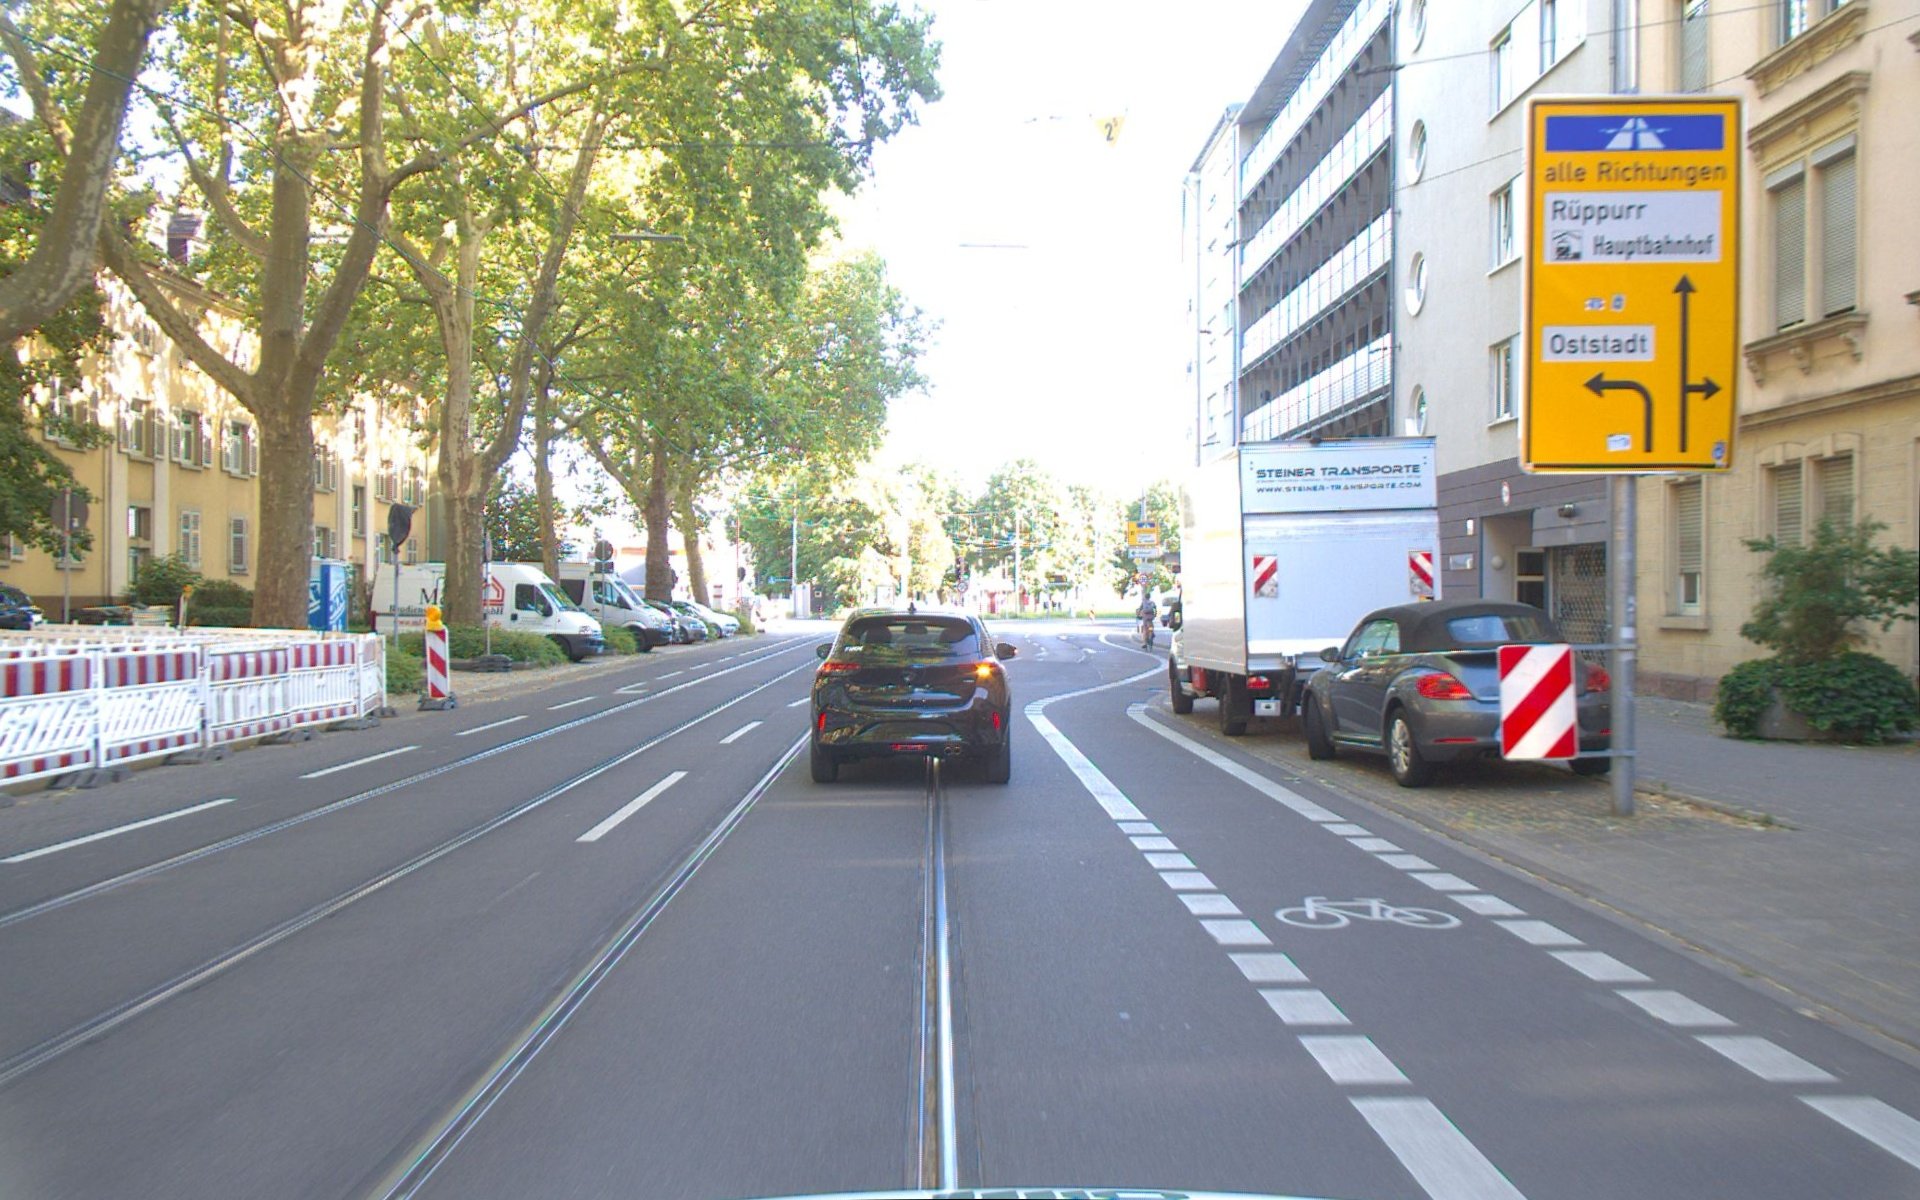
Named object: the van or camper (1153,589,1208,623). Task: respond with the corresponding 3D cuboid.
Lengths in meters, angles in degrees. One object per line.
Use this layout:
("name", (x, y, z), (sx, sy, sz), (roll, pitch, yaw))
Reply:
("van or camper", (14.664, 0.430, 109.797), (2.127, 2.183, 4.498), (1, 0, 29))

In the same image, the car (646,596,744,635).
("car", (-11.632, 0.685, 72.761), (4.086, 1.700, 1.963), (0, 0, -4))

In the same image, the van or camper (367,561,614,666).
("van or camper", (-11.570, 0.331, 41.044), (5.387, 2.421, 2.270), (1, 0, 2))

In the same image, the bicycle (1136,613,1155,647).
("bicycle", (6.123, 0.969, 54.422), (0.497, 1.086, 1.566), (0, 0, 11))

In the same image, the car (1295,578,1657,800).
("car", (4.293, 0.668, 14.471), (1.696, 1.584, 4.150), (-2, 0, -2))

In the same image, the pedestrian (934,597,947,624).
("pedestrian", (-1.417, 0.744, 118.561), (0.646, 1.966, 0.607), (1, -1, 33))

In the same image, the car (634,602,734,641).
("car", (-11.638, 0.888, 69.882), (3.905, 1.541, 1.650), (1, 0, 0))

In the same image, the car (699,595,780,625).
("car", (-13.605, 0.621, 102.111), (4.634, 1.725, 1.997), (-2, 0, 29))

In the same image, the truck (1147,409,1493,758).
("truck", (4.026, -0.165, 20.217), (2.486, 3.396, 7.194), (-2, 0, 0))

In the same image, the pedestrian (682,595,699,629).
("pedestrian", (-18.220, 0.822, 111.767), (0.812, 2.259, 0.888), (2, -1, -35))

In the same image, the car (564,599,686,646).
("car", (-11.735, 0.771, 58.093), (3.905, 1.541, 1.650), (1, 0, 0))

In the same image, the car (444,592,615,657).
("car", (-11.388, 0.636, 43.952), (4.086, 1.700, 1.963), (0, 0, -4))

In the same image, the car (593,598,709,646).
("car", (-11.298, 0.795, 60.592), (3.905, 1.680, 1.650), (1, 0, 0))

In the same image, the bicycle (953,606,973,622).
("bicycle", (0.226, 0.926, 110.577), (0.771, 1.009, 2.245), (1, 0, 15))

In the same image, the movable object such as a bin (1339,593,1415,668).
("movable object such as a bin", (8.803, 0.638, 34.993), (1.162, 1.510, 1.595), (-2, 0, -1))

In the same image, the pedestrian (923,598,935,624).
("pedestrian", (-2.192, 0.775, 118.334), (0.606, 1.886, 0.581), (1, -1, 38))

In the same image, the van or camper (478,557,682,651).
("van or camper", (-11.489, 0.118, 50.351), (5.607, 2.690, 2.269), (1, 0, -1))

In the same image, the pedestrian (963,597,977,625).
("pedestrian", (0.488, 0.532, 82.805), (0.639, 1.387, 0.645), (0, 0, 5))

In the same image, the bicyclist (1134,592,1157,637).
("bicyclist", (6.108, 0.481, 54.491), (0.691, 1.461, 0.703), (0, 0, 11))

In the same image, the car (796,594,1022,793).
("car", (-0.325, 0.719, 14.847), (1.744, 1.522, 4.001), (1, 0, 2))

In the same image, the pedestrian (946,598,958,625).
("pedestrian", (-0.561, 0.810, 118.477), (0.604, 1.886, 0.583), (1, -1, 24))
